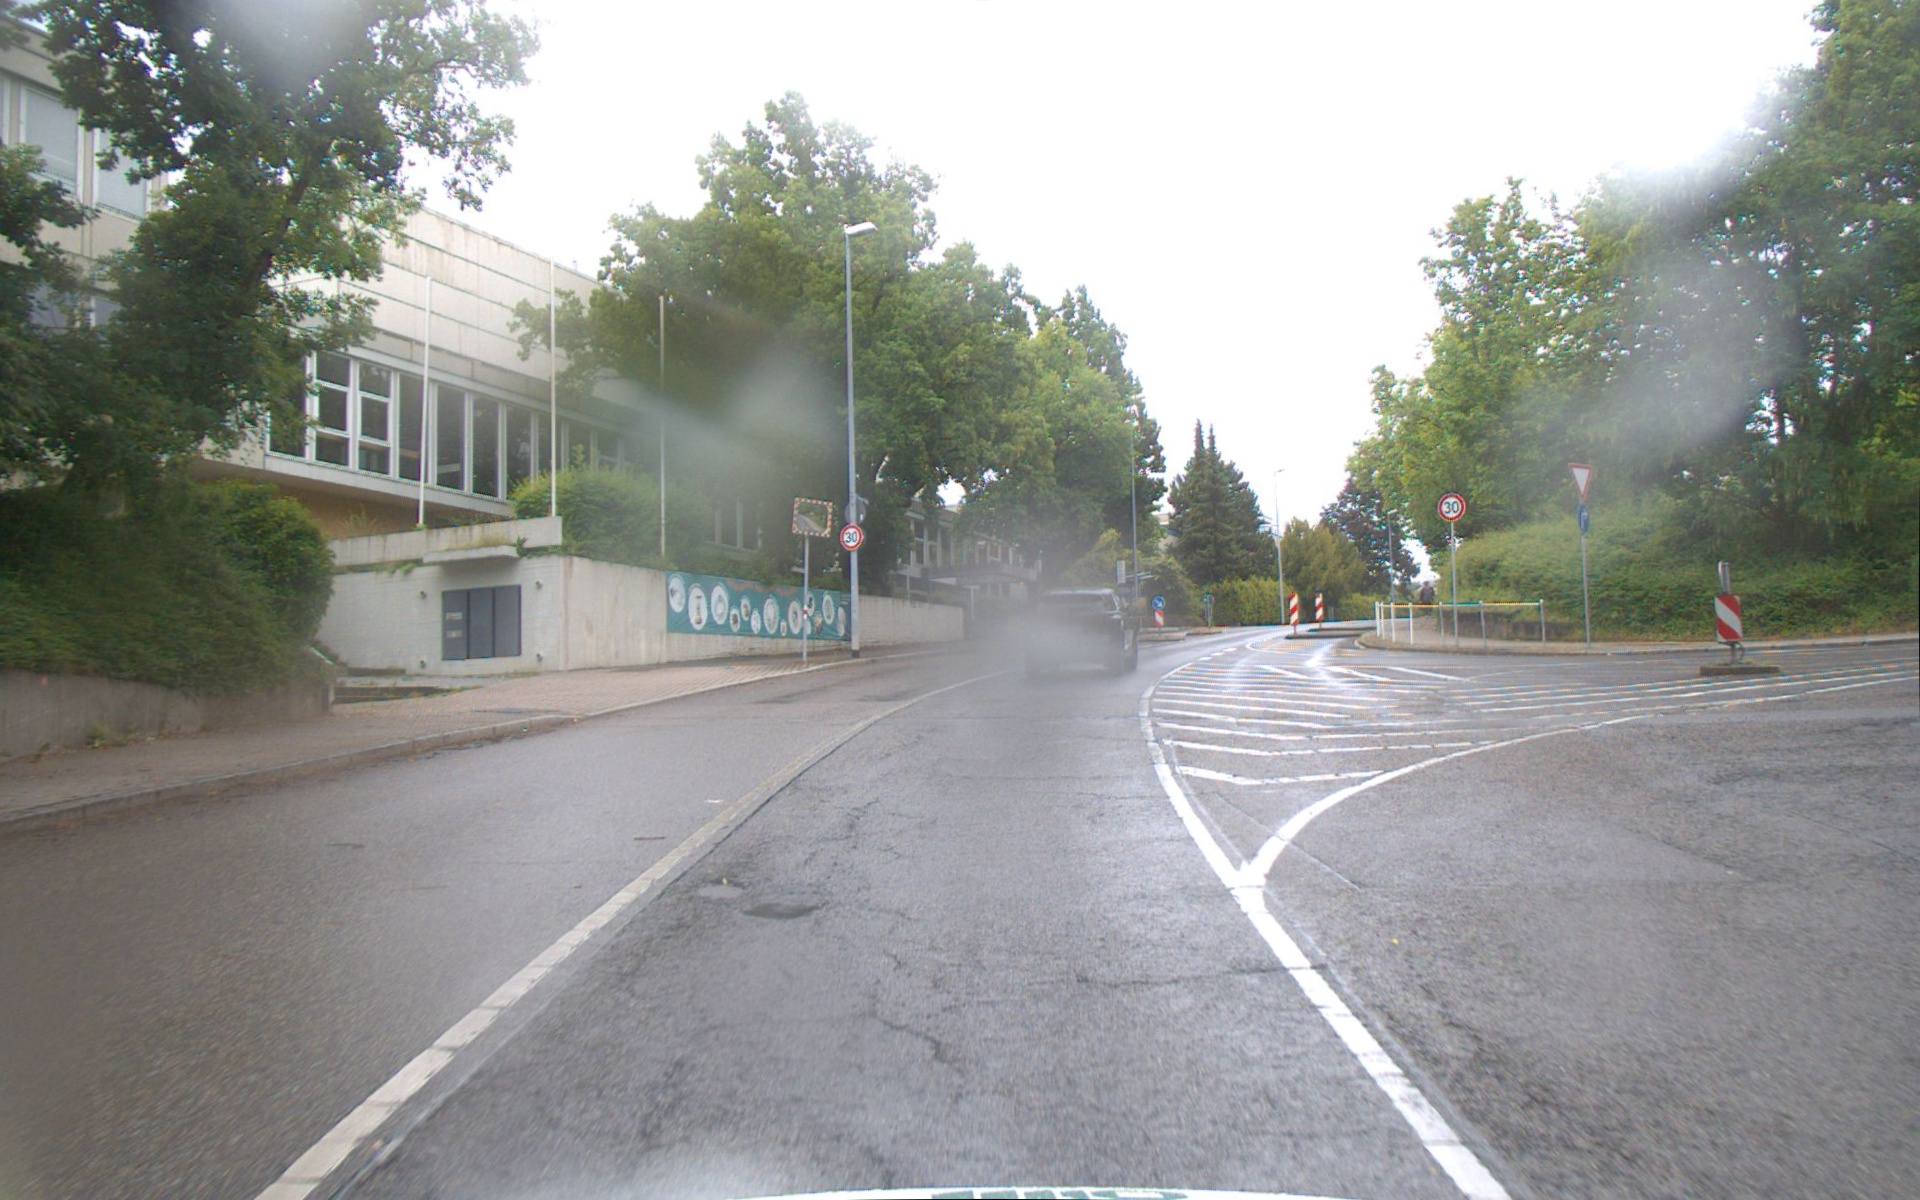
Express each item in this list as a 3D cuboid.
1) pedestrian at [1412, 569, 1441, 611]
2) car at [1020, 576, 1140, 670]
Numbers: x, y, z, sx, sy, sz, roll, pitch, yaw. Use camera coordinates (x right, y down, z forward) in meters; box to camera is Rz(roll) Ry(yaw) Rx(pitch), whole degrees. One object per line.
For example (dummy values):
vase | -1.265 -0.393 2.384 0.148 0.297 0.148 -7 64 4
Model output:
pedestrian | 20.453 -0.422 72.595 1.061 1.752 1.167 -5 -1 14
car | 2.342 0.393 31.338 1.887 1.641 4.004 -1 0 9
